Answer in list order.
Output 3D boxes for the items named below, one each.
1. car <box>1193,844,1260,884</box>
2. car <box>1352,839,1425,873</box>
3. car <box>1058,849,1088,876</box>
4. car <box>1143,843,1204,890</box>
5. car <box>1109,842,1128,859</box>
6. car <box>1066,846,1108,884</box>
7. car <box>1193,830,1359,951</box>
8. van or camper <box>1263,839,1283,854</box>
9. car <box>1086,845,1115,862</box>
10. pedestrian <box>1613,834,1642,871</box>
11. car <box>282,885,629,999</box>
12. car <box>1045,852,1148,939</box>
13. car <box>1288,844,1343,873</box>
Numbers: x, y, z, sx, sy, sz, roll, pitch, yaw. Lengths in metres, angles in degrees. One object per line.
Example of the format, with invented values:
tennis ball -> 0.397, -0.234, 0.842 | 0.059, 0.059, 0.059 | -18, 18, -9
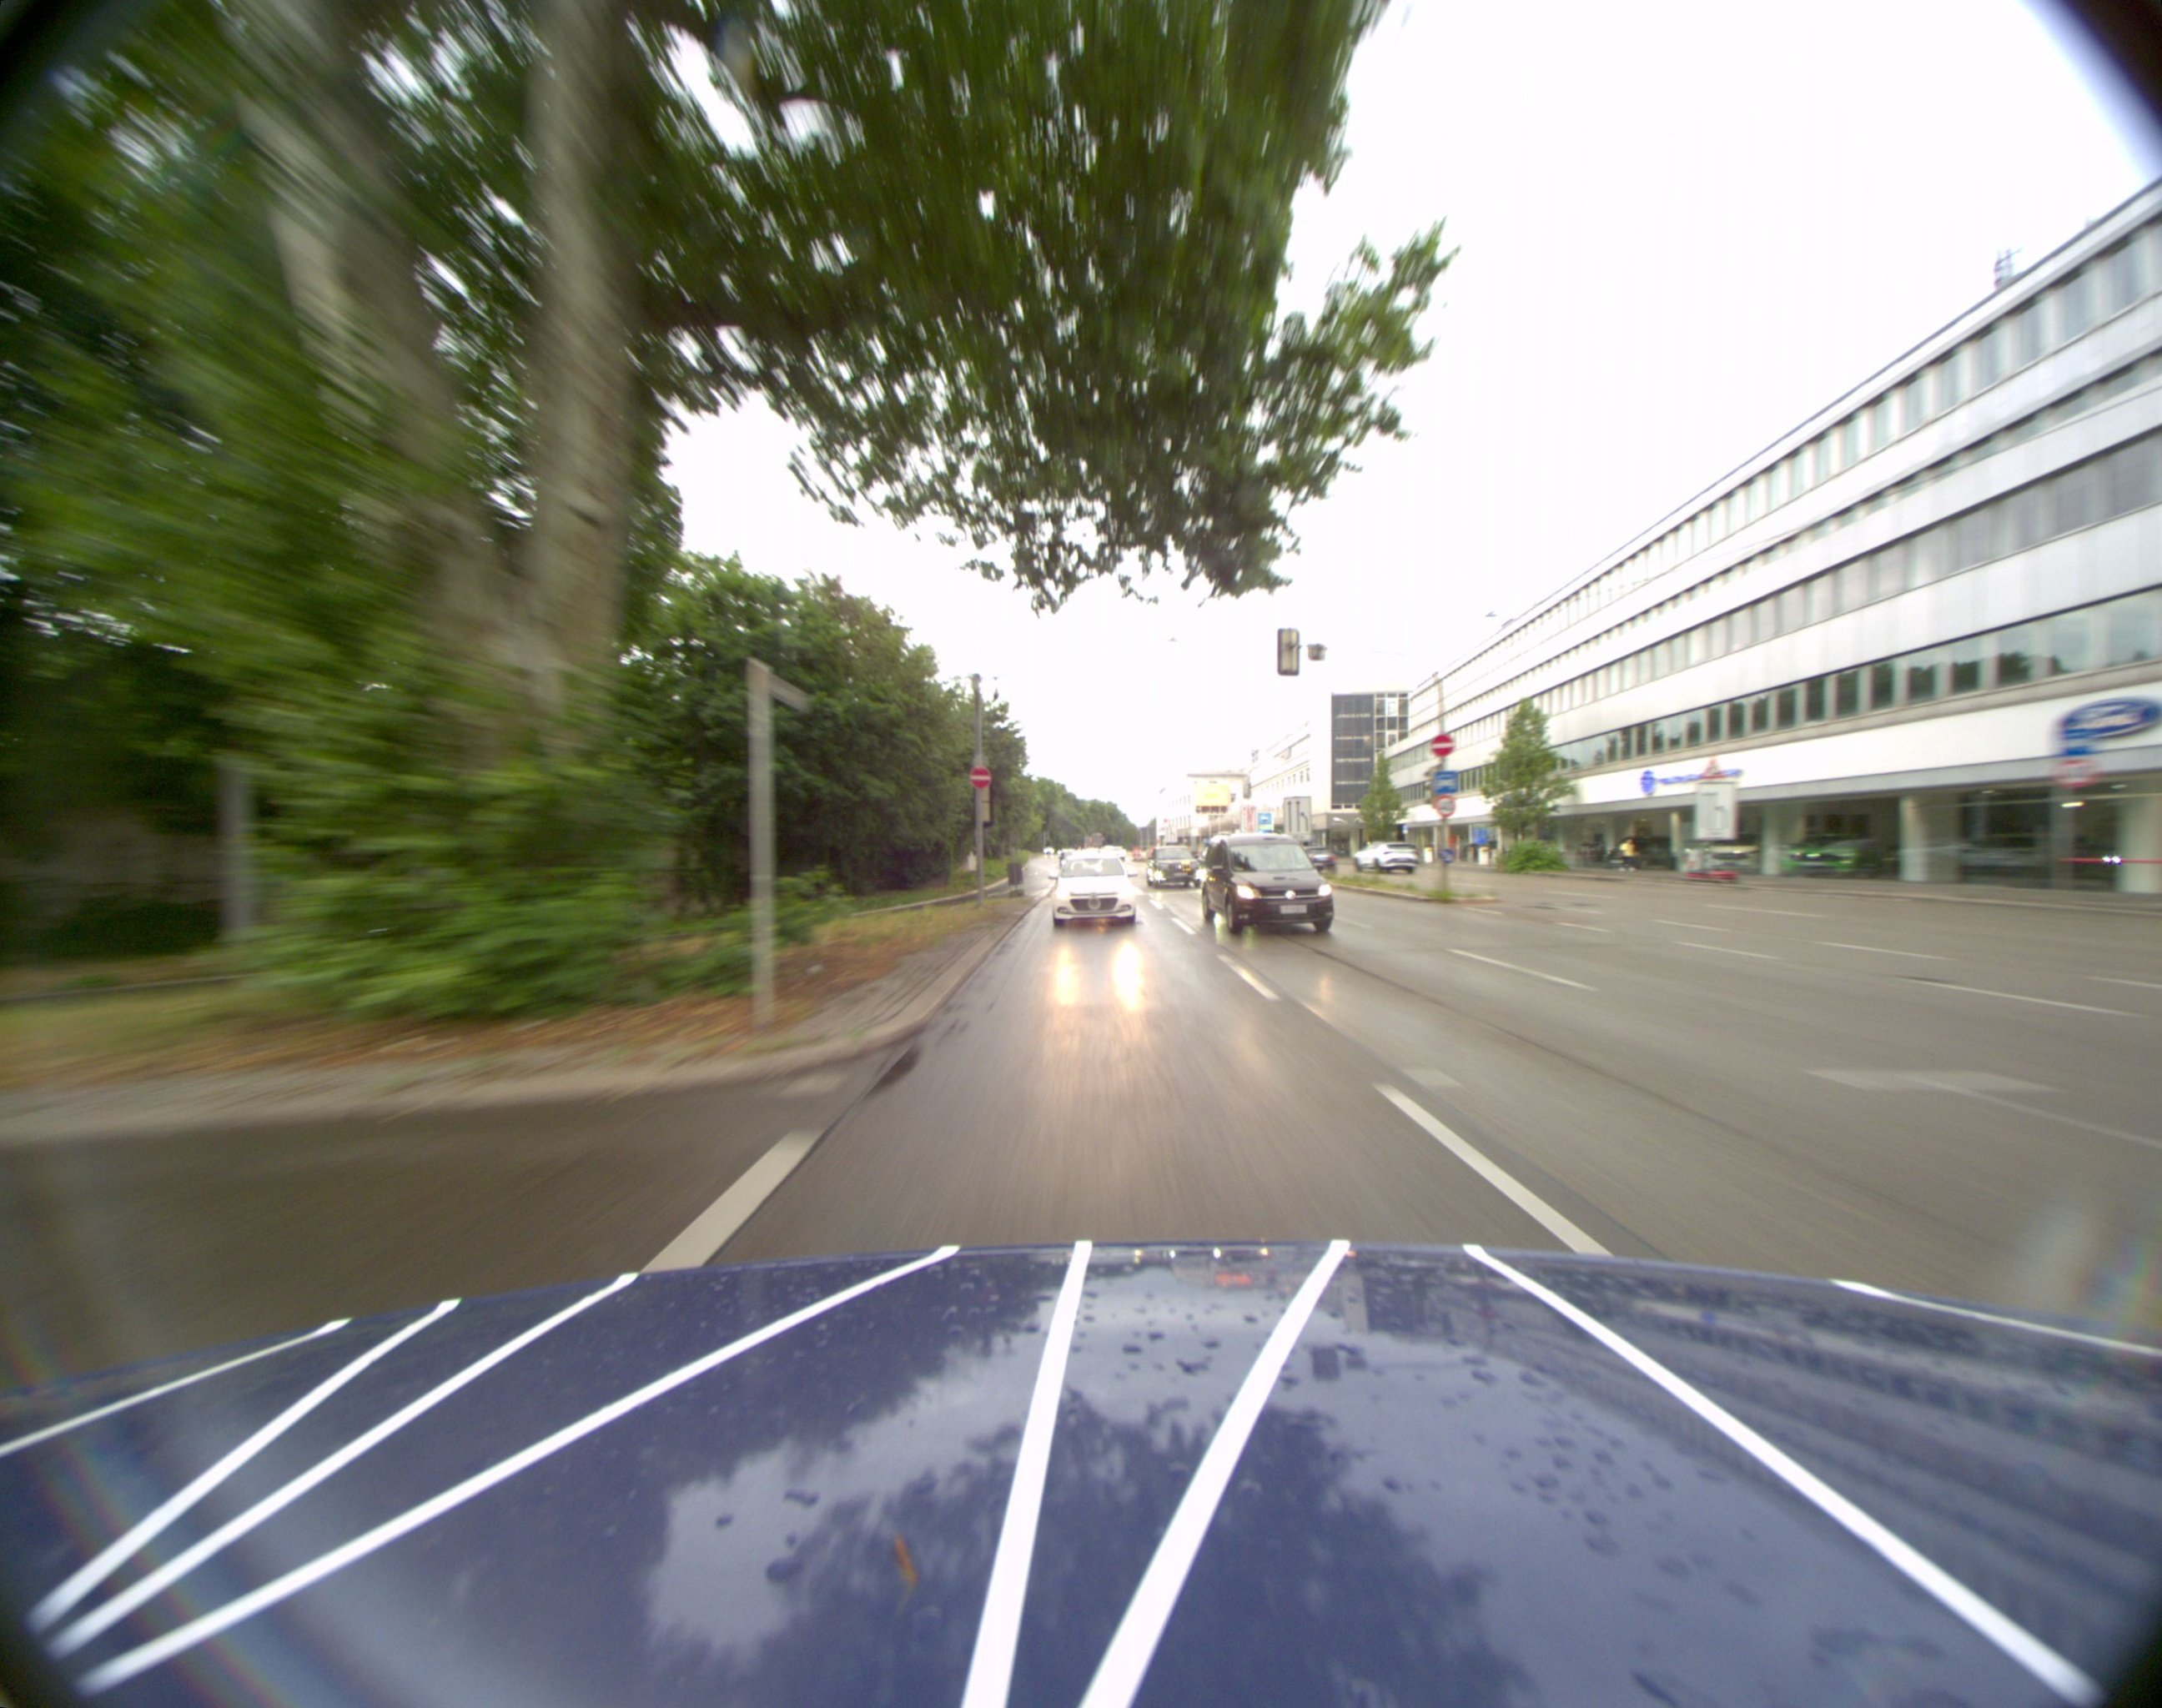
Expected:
car -> 6.476, 0.389, 34.265 | 1.815, 1.590, 4.331 | -4, 1, -5
car -> 15.835, 0.051, 39.428 | 1.895, 1.601, 4.455 | -2, 1, -1
car -> -0.501, 0.515, 50.054 | 1.814, 1.590, 4.332 | -4, 1, 0
car -> 3.565, 0.417, 29.951 | 1.814, 1.590, 4.332 | -4, 1, 0
car -> 4.125, -0.408, 84.262 | 1.771, 1.628, 4.332 | -4, 1, 1
car -> 0.293, 0.483, 36.709 | 1.814, 1.590, 4.332 | -4, 1, 0
car -> 3.437, 0.547, 14.313 | 1.905, 1.804, 4.430 | -4, 1, 0
van or camper -> 26.068, -1.084, 103.433 | 1.928, 1.918, 4.255 | -4, 1, 6
car -> 1.972, -0.068, 74.523 | 1.769, 1.407, 4.337 | -3, 1, 15
pedestrian -> 26.578, -0.086, 36.959 | 0.761, 1.765, 0.864 | -4, 1, 6
car -> -10.984, 1.464, 13.755 | 1.750, 1.395, 4.421 | -5, 0, 29
car -> 0.291, 0.756, 16.173 | 1.814, 1.444, 4.332 | -4, 1, 0
car -> 12.273, 0.192, 40.020 | 1.687, 1.428, 3.861 | -1, 1, 0
